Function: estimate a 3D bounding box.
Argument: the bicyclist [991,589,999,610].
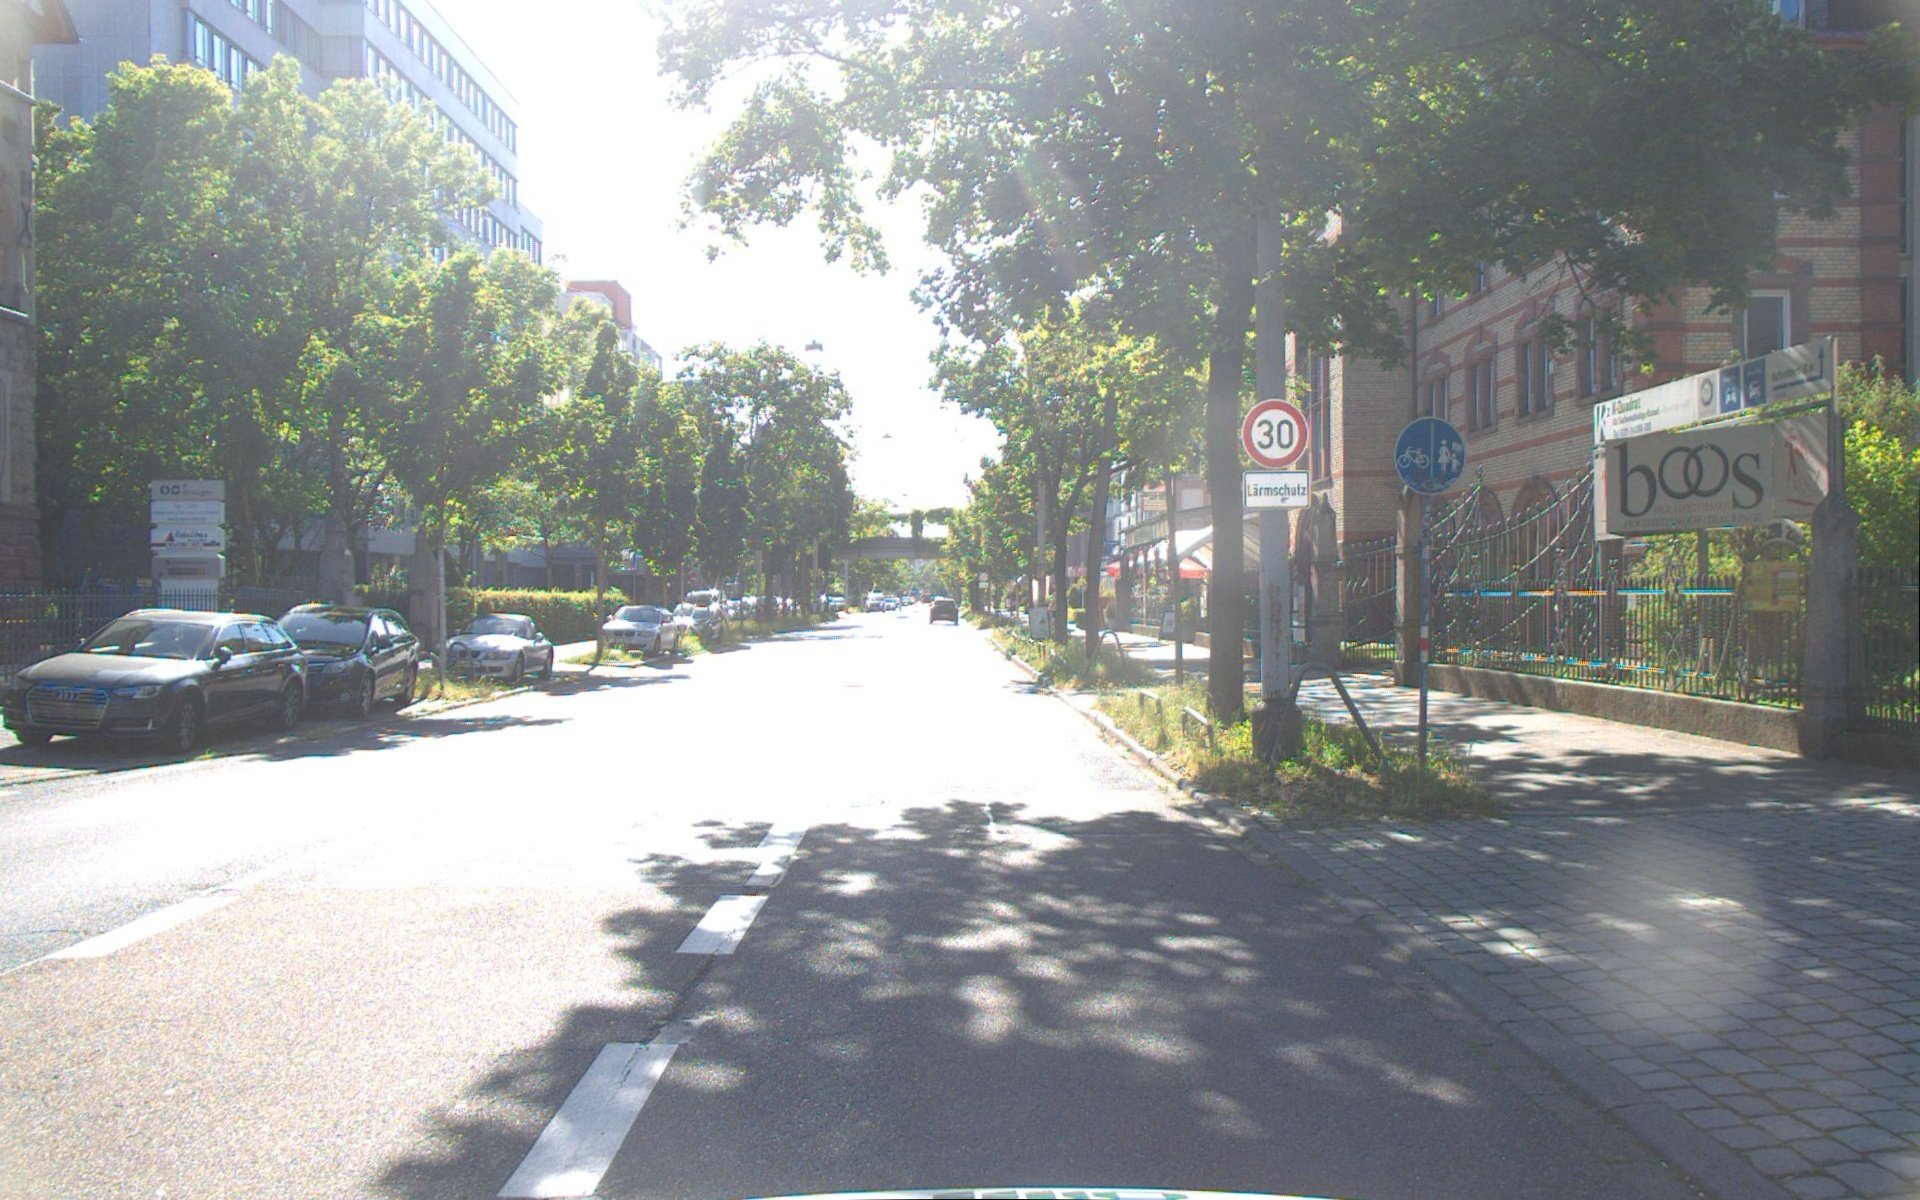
[{"bbox_3d":[2.891,-0.034,136.084,0.654,1.725,0.889,1,-1,-2],"label":"bicyclist"}]

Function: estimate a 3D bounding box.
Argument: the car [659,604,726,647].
[{"bbox_3d":[-9.618,0.896,59.700,1.677,1.484,4.072,1,0,0],"label":"car"}]

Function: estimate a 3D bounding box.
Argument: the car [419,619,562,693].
[{"bbox_3d":[-9.009,1.036,32.052,1.644,1.277,4.014,1,0,0],"label":"car"}]

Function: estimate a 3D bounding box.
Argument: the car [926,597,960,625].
[{"bbox_3d":[-1.051,0.627,100.255,1.945,1.628,4.138,0,0,-2],"label":"car"}]

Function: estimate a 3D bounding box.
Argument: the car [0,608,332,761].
[{"bbox_3d":[-9.245,0.886,19.485,1.818,1.452,4.719,4,0,0],"label":"car"}]

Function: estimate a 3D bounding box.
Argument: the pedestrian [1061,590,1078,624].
[{"bbox_3d":[5.368,0.361,80.873,0.641,1.632,0.602,-3,-1,-7],"label":"pedestrian"}]

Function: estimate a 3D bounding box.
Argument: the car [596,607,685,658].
[{"bbox_3d":[-9.333,0.924,48.598,1.653,1.407,4.192,1,0,2],"label":"car"}]

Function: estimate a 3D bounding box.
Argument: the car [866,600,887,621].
[{"bbox_3d":[-7.755,0.980,153.976,1.818,1.857,4.608,-2,0,-2],"label":"car"}]

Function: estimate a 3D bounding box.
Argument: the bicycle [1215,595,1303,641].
[{"bbox_3d":[7.841,0.482,43.418,2.154,1.199,0.686,0,-1,-7],"label":"bicycle"}]

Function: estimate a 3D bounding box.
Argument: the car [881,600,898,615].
[{"bbox_3d":[-8.012,0.830,187.919,1.818,1.595,4.714,-2,0,-2],"label":"car"}]

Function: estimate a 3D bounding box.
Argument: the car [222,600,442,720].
[{"bbox_3d":[-9.211,0.812,24.679,1.820,1.520,4.700,3,0,-6],"label":"car"}]

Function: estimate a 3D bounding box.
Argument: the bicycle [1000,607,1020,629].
[{"bbox_3d":[2.596,0.917,85.514,0.578,1.084,2.024,0,0,15],"label":"bicycle"}]

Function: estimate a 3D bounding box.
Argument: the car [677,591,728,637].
[{"bbox_3d":[-12.701,0.687,81.837,1.942,2.113,5.193,-2,0,-3],"label":"car"}]
